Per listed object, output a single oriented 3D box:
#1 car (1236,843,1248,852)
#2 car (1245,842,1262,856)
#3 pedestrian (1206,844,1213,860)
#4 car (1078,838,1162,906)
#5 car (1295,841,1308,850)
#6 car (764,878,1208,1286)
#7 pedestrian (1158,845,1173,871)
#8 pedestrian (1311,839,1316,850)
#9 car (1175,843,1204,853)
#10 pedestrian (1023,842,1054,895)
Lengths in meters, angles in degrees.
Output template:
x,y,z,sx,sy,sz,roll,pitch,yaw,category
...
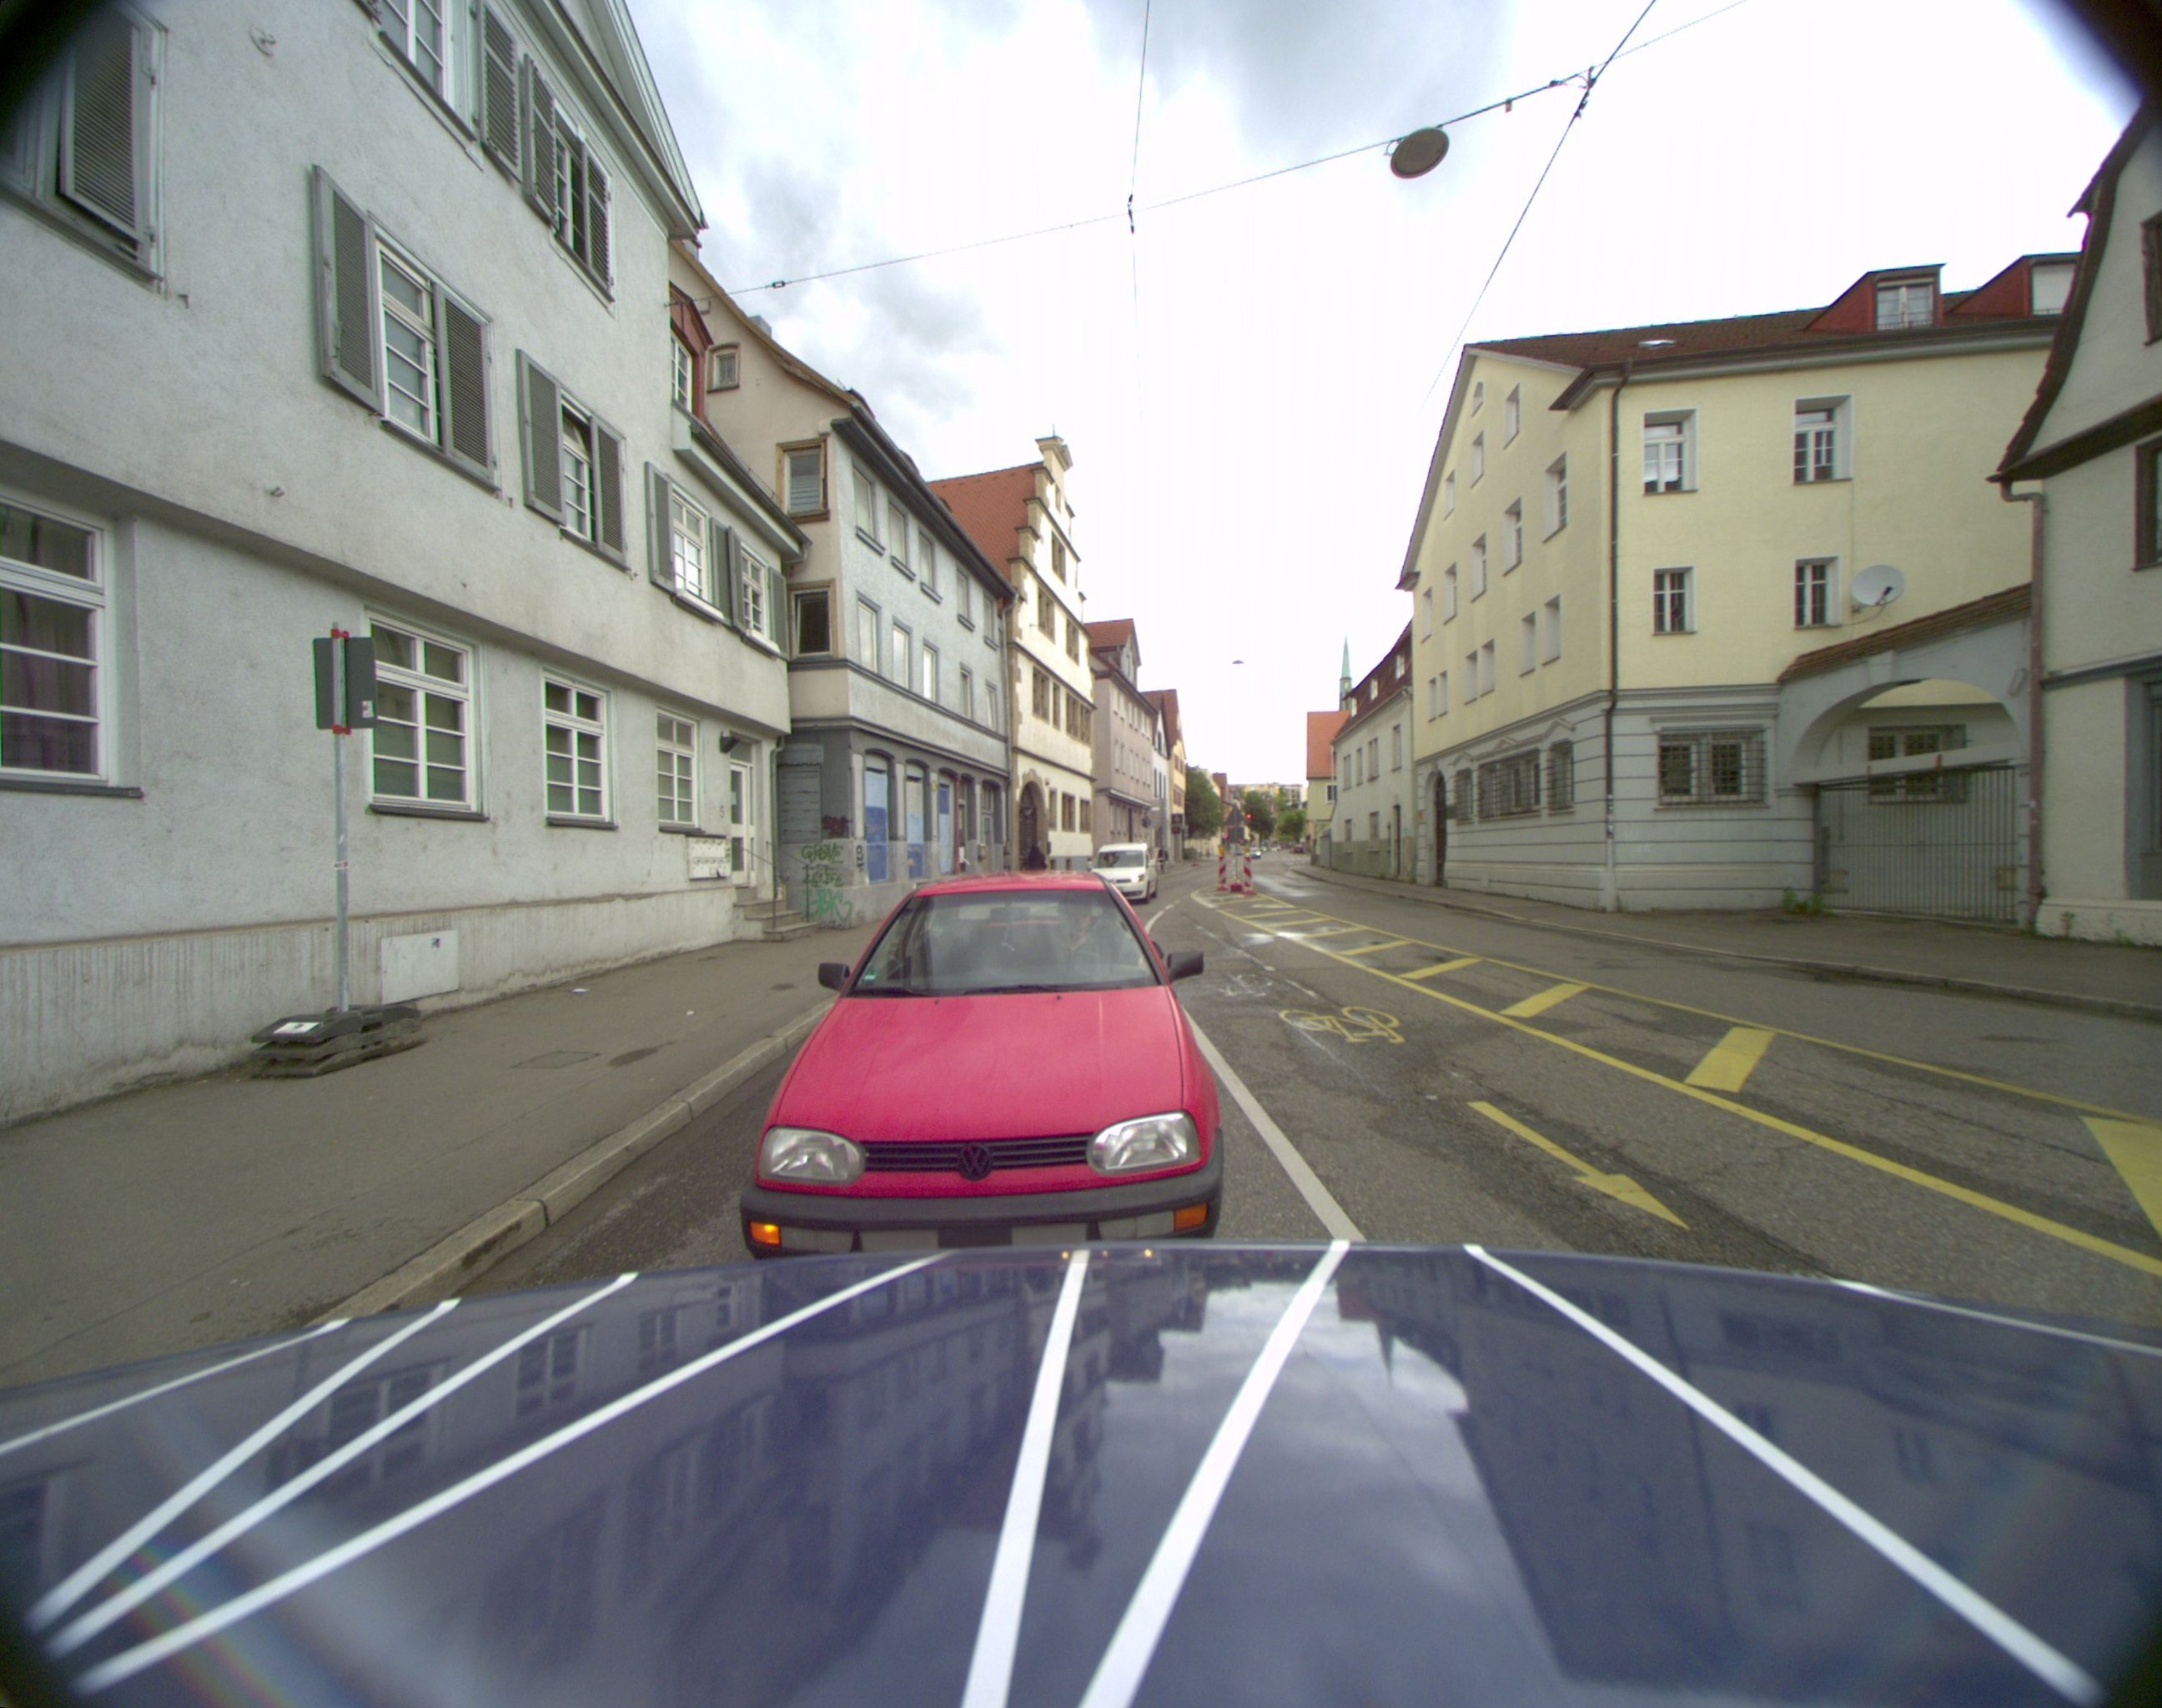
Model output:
x,y,z,sx,sy,sz,roll,pitch,yaw,category
28.320,-1.128,133.623,2.031,1.546,4.004,0,1,14,car
22.456,-0.621,98.885,1.996,1.669,4.004,-1,1,15,car
18.505,-0.267,109.418,0.901,2.297,0.821,-1,0,13,pedestrian
1.285,0.446,22.792,1.997,1.777,4.469,0,2,10,car
42.653,-1.673,146.802,2.210,1.668,4.502,0,1,14,car
-0.335,0.951,4.947,1.685,1.418,4.021,-1,0,1,car
5.439,0.254,48.845,0.833,1.646,0.945,-1,0,15,pedestrian
42.680,-1.822,139.392,0.835,2.002,0.846,-1,1,13,pedestrian
16.298,-0.891,113.630,3.992,1.455,2.002,-1,2,17,car
-1.384,0.462,24.738,0.756,1.658,0.810,2,1,15,pedestrian
